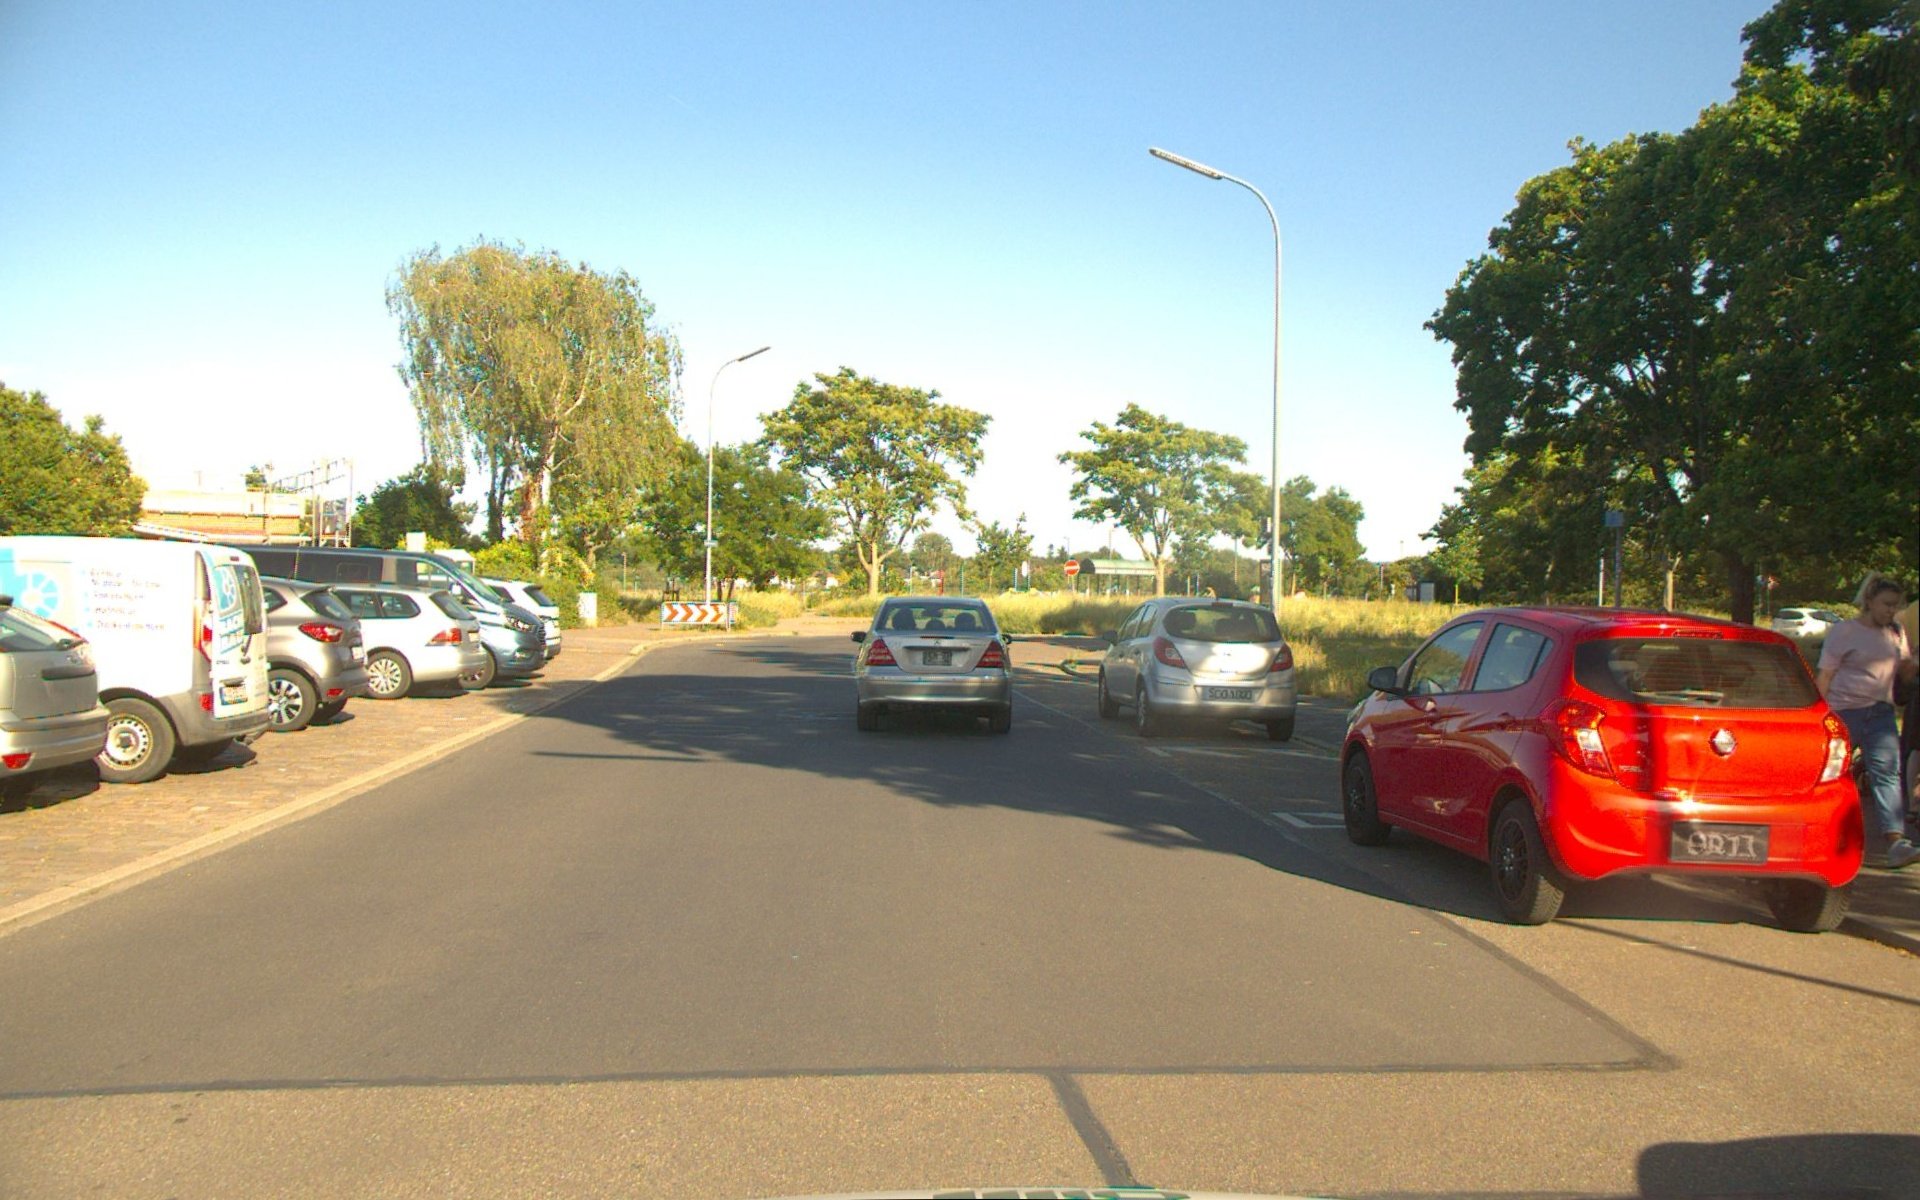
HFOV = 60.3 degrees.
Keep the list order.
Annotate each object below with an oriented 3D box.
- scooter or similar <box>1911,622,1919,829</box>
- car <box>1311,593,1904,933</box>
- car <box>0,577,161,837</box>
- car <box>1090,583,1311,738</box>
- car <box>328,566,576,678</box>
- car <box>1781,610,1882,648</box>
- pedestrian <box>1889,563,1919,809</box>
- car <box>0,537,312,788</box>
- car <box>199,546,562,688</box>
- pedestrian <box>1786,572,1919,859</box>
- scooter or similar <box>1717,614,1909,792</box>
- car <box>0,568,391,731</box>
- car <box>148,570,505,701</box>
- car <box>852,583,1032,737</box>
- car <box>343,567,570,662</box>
[{"bbox_3d":[6.143,0.760,9.679,0.610,1.249,0.904,0,0,-3],"label":"scooter or similar"},{"bbox_3d":[3.272,0.730,9.188,1.544,1.471,3.785,2,0,-5],"label":"car"},{"bbox_3d":[-7.385,0.570,10.777,3.442,1.515,1.728,3,0,-1],"label":"car"},{"bbox_3d":[2.654,0.633,19.085,1.697,1.570,3.785,2,0,-5],"label":"car"},{"bbox_3d":[-8.385,0.366,27.534,3.540,1.635,1.732,3,-1,-3],"label":"car"},{"bbox_3d":[34.973,1.160,66.374,3.679,1.505,1.714,0,-1,-24],"label":"car"},{"bbox_3d":[6.434,0.554,10.751,0.471,1.592,0.597,-1,-1,7],"label":"pedestrian"},{"bbox_3d":[-7.438,0.418,13.031,3.901,1.811,1.923,2,1,-6],"label":"car"},{"bbox_3d":[-8.564,0.262,24.867,4.780,1.949,1.997,1,0,-8],"label":"car"},{"bbox_3d":[5.249,0.648,9.488,0.771,1.592,0.570,-2,-2,16],"label":"pedestrian"},{"bbox_3d":[6.310,0.731,12.281,0.395,1.249,1.239,0,0,-33],"label":"scooter or similar"},{"bbox_3d":[-8.156,0.502,17.453,3.743,1.559,1.786,1,0,-9],"label":"car"},{"bbox_3d":[-8.445,0.472,22.371,4.056,1.518,1.924,3,0,-5],"label":"car"},{"bbox_3d":[-0.277,0.591,18.936,1.780,1.488,4.359,2,1,-3],"label":"car"},{"bbox_3d":[-9.913,0.293,32.829,3.908,1.640,1.817,3,-1,-4],"label":"car"}]
